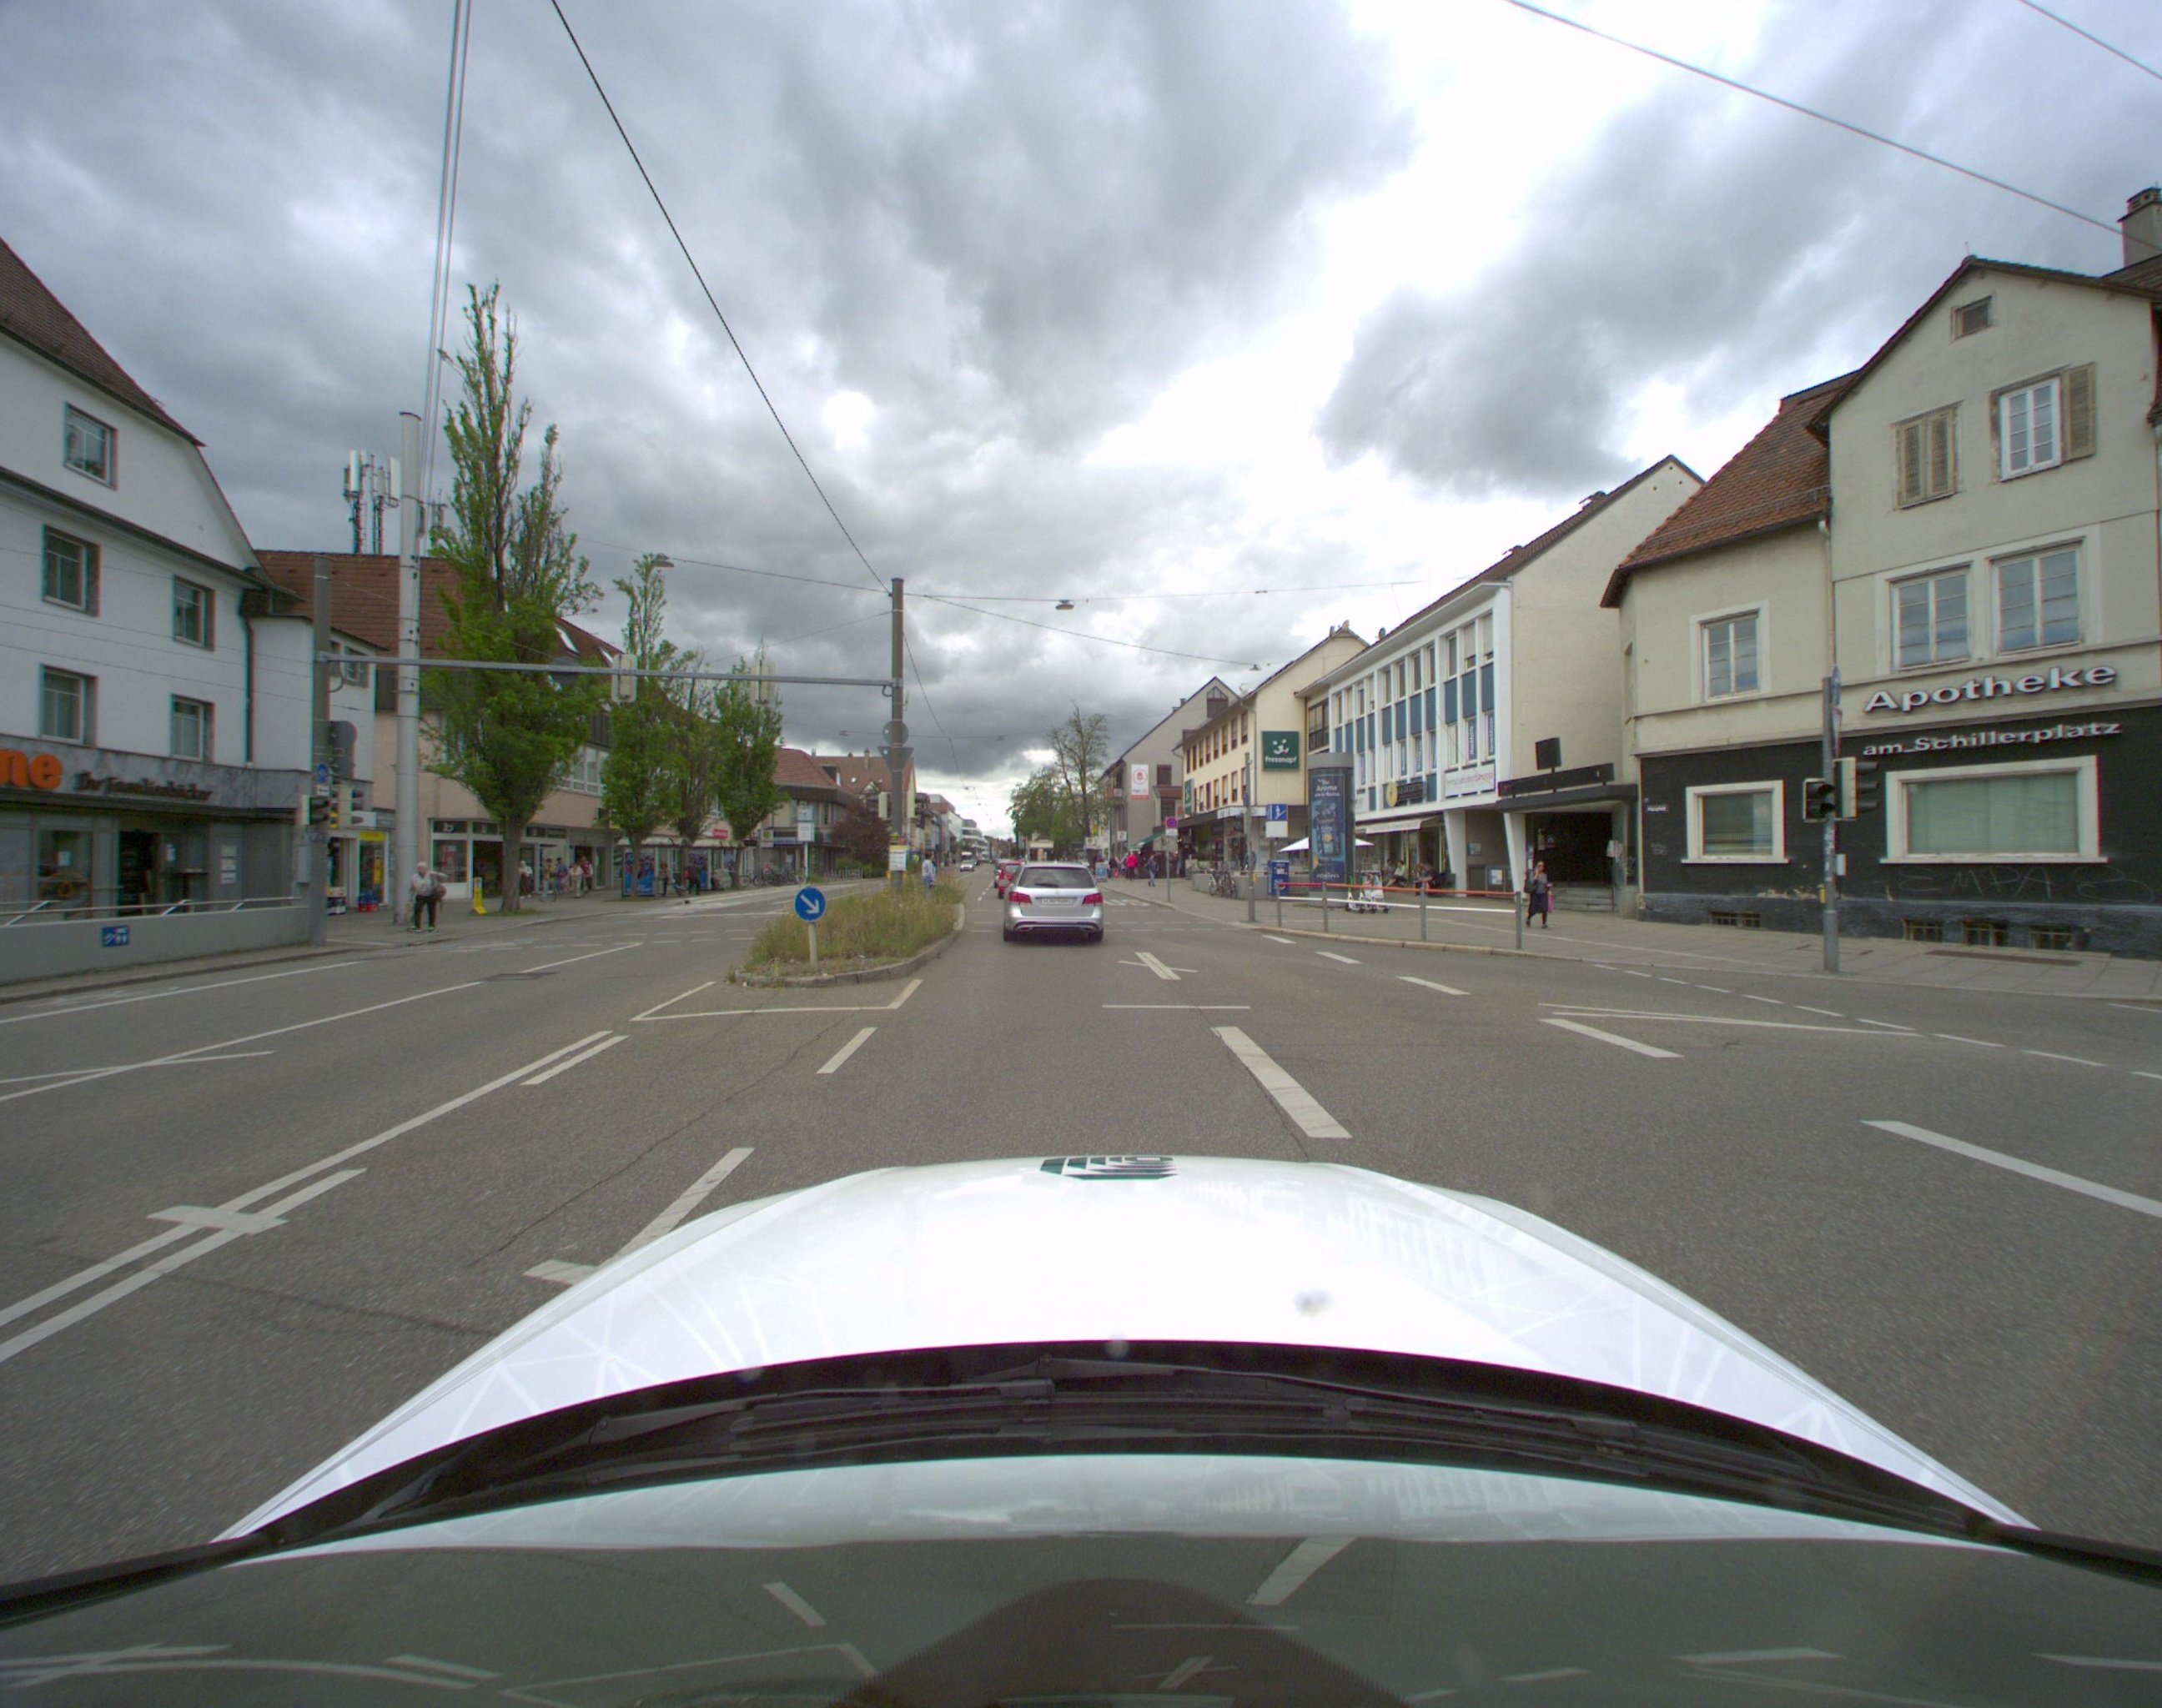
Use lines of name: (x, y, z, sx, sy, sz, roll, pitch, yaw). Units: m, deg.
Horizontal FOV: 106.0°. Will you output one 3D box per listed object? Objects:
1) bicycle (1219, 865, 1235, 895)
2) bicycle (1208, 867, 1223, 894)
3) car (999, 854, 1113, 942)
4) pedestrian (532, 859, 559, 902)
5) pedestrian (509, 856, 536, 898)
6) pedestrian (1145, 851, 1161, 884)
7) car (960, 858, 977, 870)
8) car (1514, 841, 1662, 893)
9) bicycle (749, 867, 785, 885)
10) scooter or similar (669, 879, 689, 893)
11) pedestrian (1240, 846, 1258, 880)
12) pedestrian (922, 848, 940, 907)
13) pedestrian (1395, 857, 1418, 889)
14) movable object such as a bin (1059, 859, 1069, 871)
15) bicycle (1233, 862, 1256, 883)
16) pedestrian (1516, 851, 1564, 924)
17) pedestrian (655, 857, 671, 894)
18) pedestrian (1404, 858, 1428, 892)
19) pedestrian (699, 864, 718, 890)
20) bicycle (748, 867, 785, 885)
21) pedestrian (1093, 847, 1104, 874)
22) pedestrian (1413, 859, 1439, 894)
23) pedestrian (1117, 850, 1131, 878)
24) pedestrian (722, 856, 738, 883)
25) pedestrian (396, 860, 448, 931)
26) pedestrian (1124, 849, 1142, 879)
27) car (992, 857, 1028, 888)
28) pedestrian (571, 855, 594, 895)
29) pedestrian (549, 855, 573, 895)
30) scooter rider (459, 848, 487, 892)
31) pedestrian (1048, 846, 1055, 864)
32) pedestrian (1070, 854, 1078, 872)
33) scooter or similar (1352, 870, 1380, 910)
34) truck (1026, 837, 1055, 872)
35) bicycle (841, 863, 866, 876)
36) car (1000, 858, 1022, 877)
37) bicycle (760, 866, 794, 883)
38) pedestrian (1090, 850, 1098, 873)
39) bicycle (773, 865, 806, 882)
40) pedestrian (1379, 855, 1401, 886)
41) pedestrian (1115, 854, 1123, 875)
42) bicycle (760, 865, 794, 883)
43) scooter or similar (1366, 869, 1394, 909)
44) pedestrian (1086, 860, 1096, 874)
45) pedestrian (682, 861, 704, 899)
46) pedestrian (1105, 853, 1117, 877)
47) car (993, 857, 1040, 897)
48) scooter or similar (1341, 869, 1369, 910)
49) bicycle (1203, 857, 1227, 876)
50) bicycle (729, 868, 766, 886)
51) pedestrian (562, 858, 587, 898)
bicycle: (5.343, 0.934, 29.853, 0.273, 1.053, 1.385, 0, 0, -4)
bicycle: (5.162, 1.011, 31.332, 0.273, 0.974, 1.385, 0, 0, -4)
car: (-0.619, 0.776, 15.985, 1.872, 1.506, 3.990, 0, -1, -7)
pedestrian: (-20.634, 1.009, 31.395, 0.585, 1.634, 0.613, 3, -1, -7)
pedestrian: (-22.553, 0.913, 32.888, 0.585, 1.634, 0.613, 3, -1, -7)
pedestrian: (3.614, 0.679, 41.069, 0.686, 1.634, 0.852, 0, 0, -2)
car: (-14.860, 1.294, 107.564, 1.871, 1.506, 4.335, -1, -1, -5)
car: (16.885, 0.419, 27.230, 3.955, 1.666, 1.734, 0, 0, -2)
bicycle: (-19.761, 1.356, 51.295, 2.021, 1.090, 0.646, 0, 0, -15)
scooter or similar: (-18.317, 1.457, 37.111, 0.591, 0.601, 0.701, 0, 0, -6)
pedestrian: (8.174, 0.436, 39.556, 0.665, 1.634, 0.799, 0, 0, -5)
pedestrian: (-4.263, 0.662, 23.098, 0.503, 1.634, 0.661, 0, 0, -12)
pedestrian: (12.834, 0.746, 32.136, 0.612, 1.220, 0.586, 0, 0, -8)
movable object such as a bin: (-2.009, 1.233, 94.208, 1.141, 1.339, 1.374, 0, 0, -3)
bicycle: (7.928, 0.888, 39.514, 0.275, 0.974, 1.374, 0, 0, -28)
pedestrian: (10.549, 0.765, 18.714, 0.590, 1.622, 0.736, 3, -1, -37)
pedestrian: (-18.834, 0.958, 36.676, 0.588, 1.652, 0.708, 1, 0, -24)
pedestrian: (12.302, 0.761, 29.911, 0.612, 1.220, 0.586, -1, 0, -8)
pedestrian: (-19.689, 1.219, 43.082, 0.710, 1.364, 0.587, 1, 0, -4)
bicycle: (-19.426, 1.355, 50.272, 2.018, 1.090, 0.647, 0, 0, -11)
pedestrian: (1.162, 0.418, 53.122, 0.610, 1.678, 0.614, 3, -1, -3)
pedestrian: (12.403, 0.789, 29.289, 0.612, 1.220, 0.586, 3, 0, -8)
pedestrian: (2.732, 0.624, 52.055, 0.682, 1.742, 0.779, -2, -2, -11)
pedestrian: (-23.490, 1.055, 54.462, 0.725, 1.764, 0.753, 3, 0, -8)
pedestrian: (-15.606, 0.977, 19.308, 0.701, 1.634, 0.611, 3, -1, -16)
pedestrian: (3.049, 0.593, 48.022, 0.795, 1.742, 0.779, -2, -2, -11)
car: (-4.103, 1.034, 47.198, 1.990, 1.684, 3.993, 0, 0, -5)
pedestrian: (-22.073, 0.915, 36.047, 0.585, 1.712, 0.613, 3, -1, -7)
pedestrian: (-22.873, 0.922, 35.809, 0.585, 1.712, 0.613, 3, -1, -7)
scooter rider: (-24.124, 0.645, 32.330, 0.613, 1.712, 0.586, 3, -1, -9)
pedestrian: (-2.979, 0.069, 82.201, 0.613, 1.780, 0.586, -1, -2, -9)
pedestrian: (-0.652, 0.849, 76.743, 0.538, 1.634, 0.582, 3, -1, -30)
scooter or similar: (8.396, 1.046, 24.033, 0.314, 1.132, 1.206, 0, 0, -4)
truck: (-4.454, 0.076, 87.666, 2.684, 3.561, 9.748, 0, 0, -5)
bicycle: (-18.907, 1.297, 67.700, 2.021, 1.090, 0.646, 0, 0, -15)
car: (-6.491, 1.241, 75.347, 1.990, 1.684, 3.993, 0, 0, -5)
bicycle: (-19.601, 1.325, 52.524, 2.021, 1.090, 0.646, 0, 0, -15)
pedestrian: (1.201, 0.655, 73.394, 0.609, 2.047, 0.589, -2, -1, 8)
bicycle: (-19.368, 1.287, 54.140, 2.021, 1.090, 0.646, 0, 0, -15)
pedestrian: (12.444, 0.660, 32.802, 0.612, 1.220, 0.586, 3, 0, -8)
pedestrian: (2.957, 0.830, 63.738, 0.585, 1.634, 0.614, 0, 0, -4)
bicycle: (-19.844, 1.297, 53.196, 2.021, 1.090, 0.646, 0, 0, -15)
scooter or similar: (8.805, 1.018, 24.032, 0.314, 1.132, 1.206, 0, 0, -4)
pedestrian: (0.870, 1.108, 70.726, 0.712, 1.166, 0.585, 1, 0, -12)
pedestrian: (-17.231, 1.126, 36.160, 0.583, 1.652, 0.715, 1, 0, 5)
pedestrian: (2.033, 0.742, 54.979, 0.718, 1.634, 0.613, -1, -1, -8)
car: (-2.644, 0.903, 33.063, 1.752, 1.521, 3.992, 1, -1, -5)
scooter or similar: (8.054, 1.028, 23.967, 0.314, 1.132, 1.206, 0, 0, -4)
bicycle: (7.773, 0.704, 47.217, 0.740, 1.062, 2.345, -1, 0, -7)
bicycle: (-20.134, 1.391, 49.266, 2.024, 1.090, 0.645, 1, -1, -20)
pedestrian: (-21.349, 1.008, 34.338, 0.585, 1.634, 0.613, 3, -1, -7)
